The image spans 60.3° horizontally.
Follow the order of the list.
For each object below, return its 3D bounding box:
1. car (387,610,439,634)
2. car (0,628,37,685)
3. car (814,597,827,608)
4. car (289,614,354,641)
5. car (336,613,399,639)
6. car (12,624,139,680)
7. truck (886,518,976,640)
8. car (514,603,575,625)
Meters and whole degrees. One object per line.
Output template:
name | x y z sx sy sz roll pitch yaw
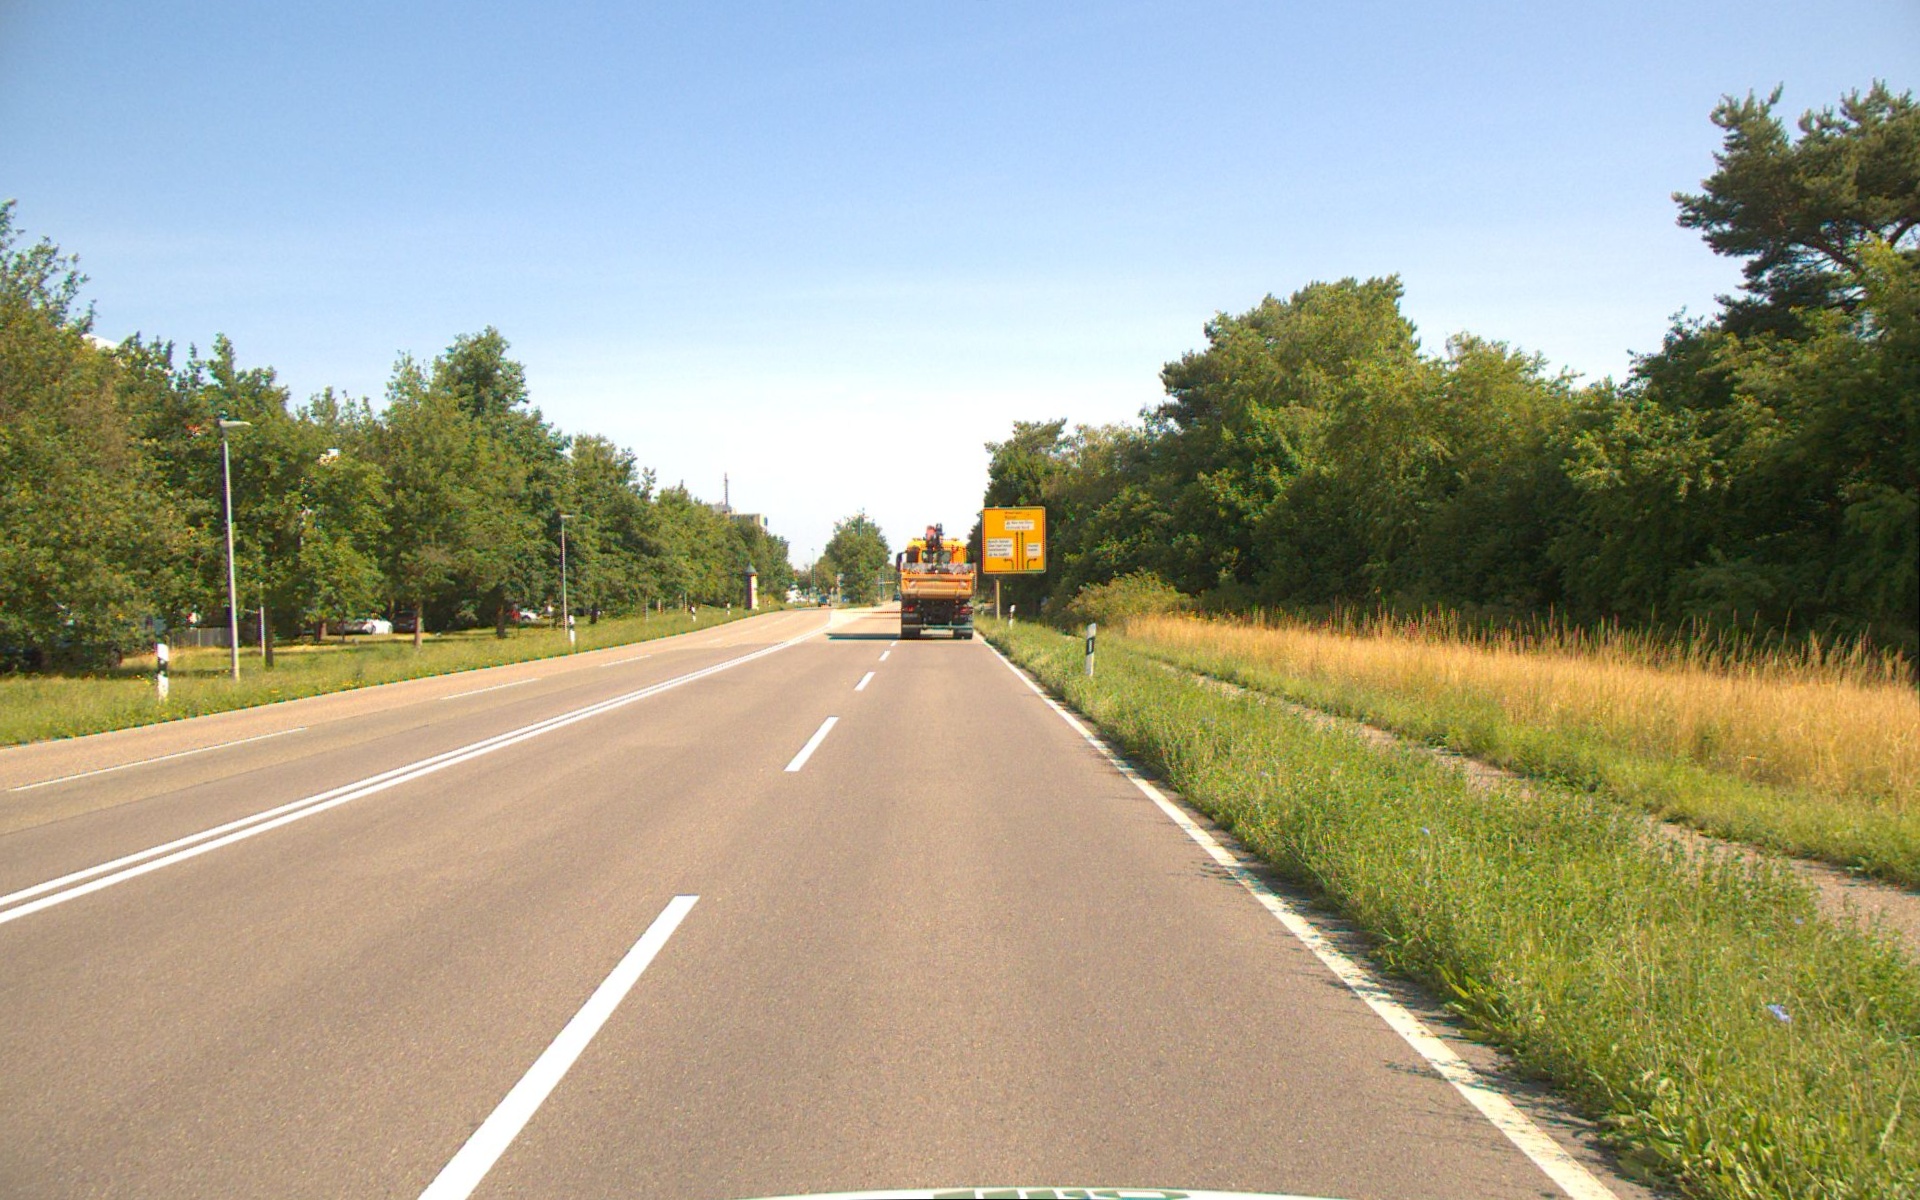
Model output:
car | -36.458 1.483 110.309 1.953 1.462 4.609 -1 0 -1
car | -28.668 1.682 47.575 1.708 1.606 4.547 -1 0 -1
car | -21.458 0.327 254.751 1.764 1.599 3.999 -2 0 -2
car | -38.428 1.638 99.701 1.952 1.462 4.955 -1 0 0
car | -35.888 1.559 100.358 1.952 1.462 4.955 -1 0 0
car | -28.738 1.645 53.904 1.708 1.606 4.547 -1 0 -1
truck | -1.103 -0.695 57.462 2.815 3.948 7.395 1 0 -3
car | -34.252 1.149 136.507 4.502 1.679 1.999 -1 0 -2
